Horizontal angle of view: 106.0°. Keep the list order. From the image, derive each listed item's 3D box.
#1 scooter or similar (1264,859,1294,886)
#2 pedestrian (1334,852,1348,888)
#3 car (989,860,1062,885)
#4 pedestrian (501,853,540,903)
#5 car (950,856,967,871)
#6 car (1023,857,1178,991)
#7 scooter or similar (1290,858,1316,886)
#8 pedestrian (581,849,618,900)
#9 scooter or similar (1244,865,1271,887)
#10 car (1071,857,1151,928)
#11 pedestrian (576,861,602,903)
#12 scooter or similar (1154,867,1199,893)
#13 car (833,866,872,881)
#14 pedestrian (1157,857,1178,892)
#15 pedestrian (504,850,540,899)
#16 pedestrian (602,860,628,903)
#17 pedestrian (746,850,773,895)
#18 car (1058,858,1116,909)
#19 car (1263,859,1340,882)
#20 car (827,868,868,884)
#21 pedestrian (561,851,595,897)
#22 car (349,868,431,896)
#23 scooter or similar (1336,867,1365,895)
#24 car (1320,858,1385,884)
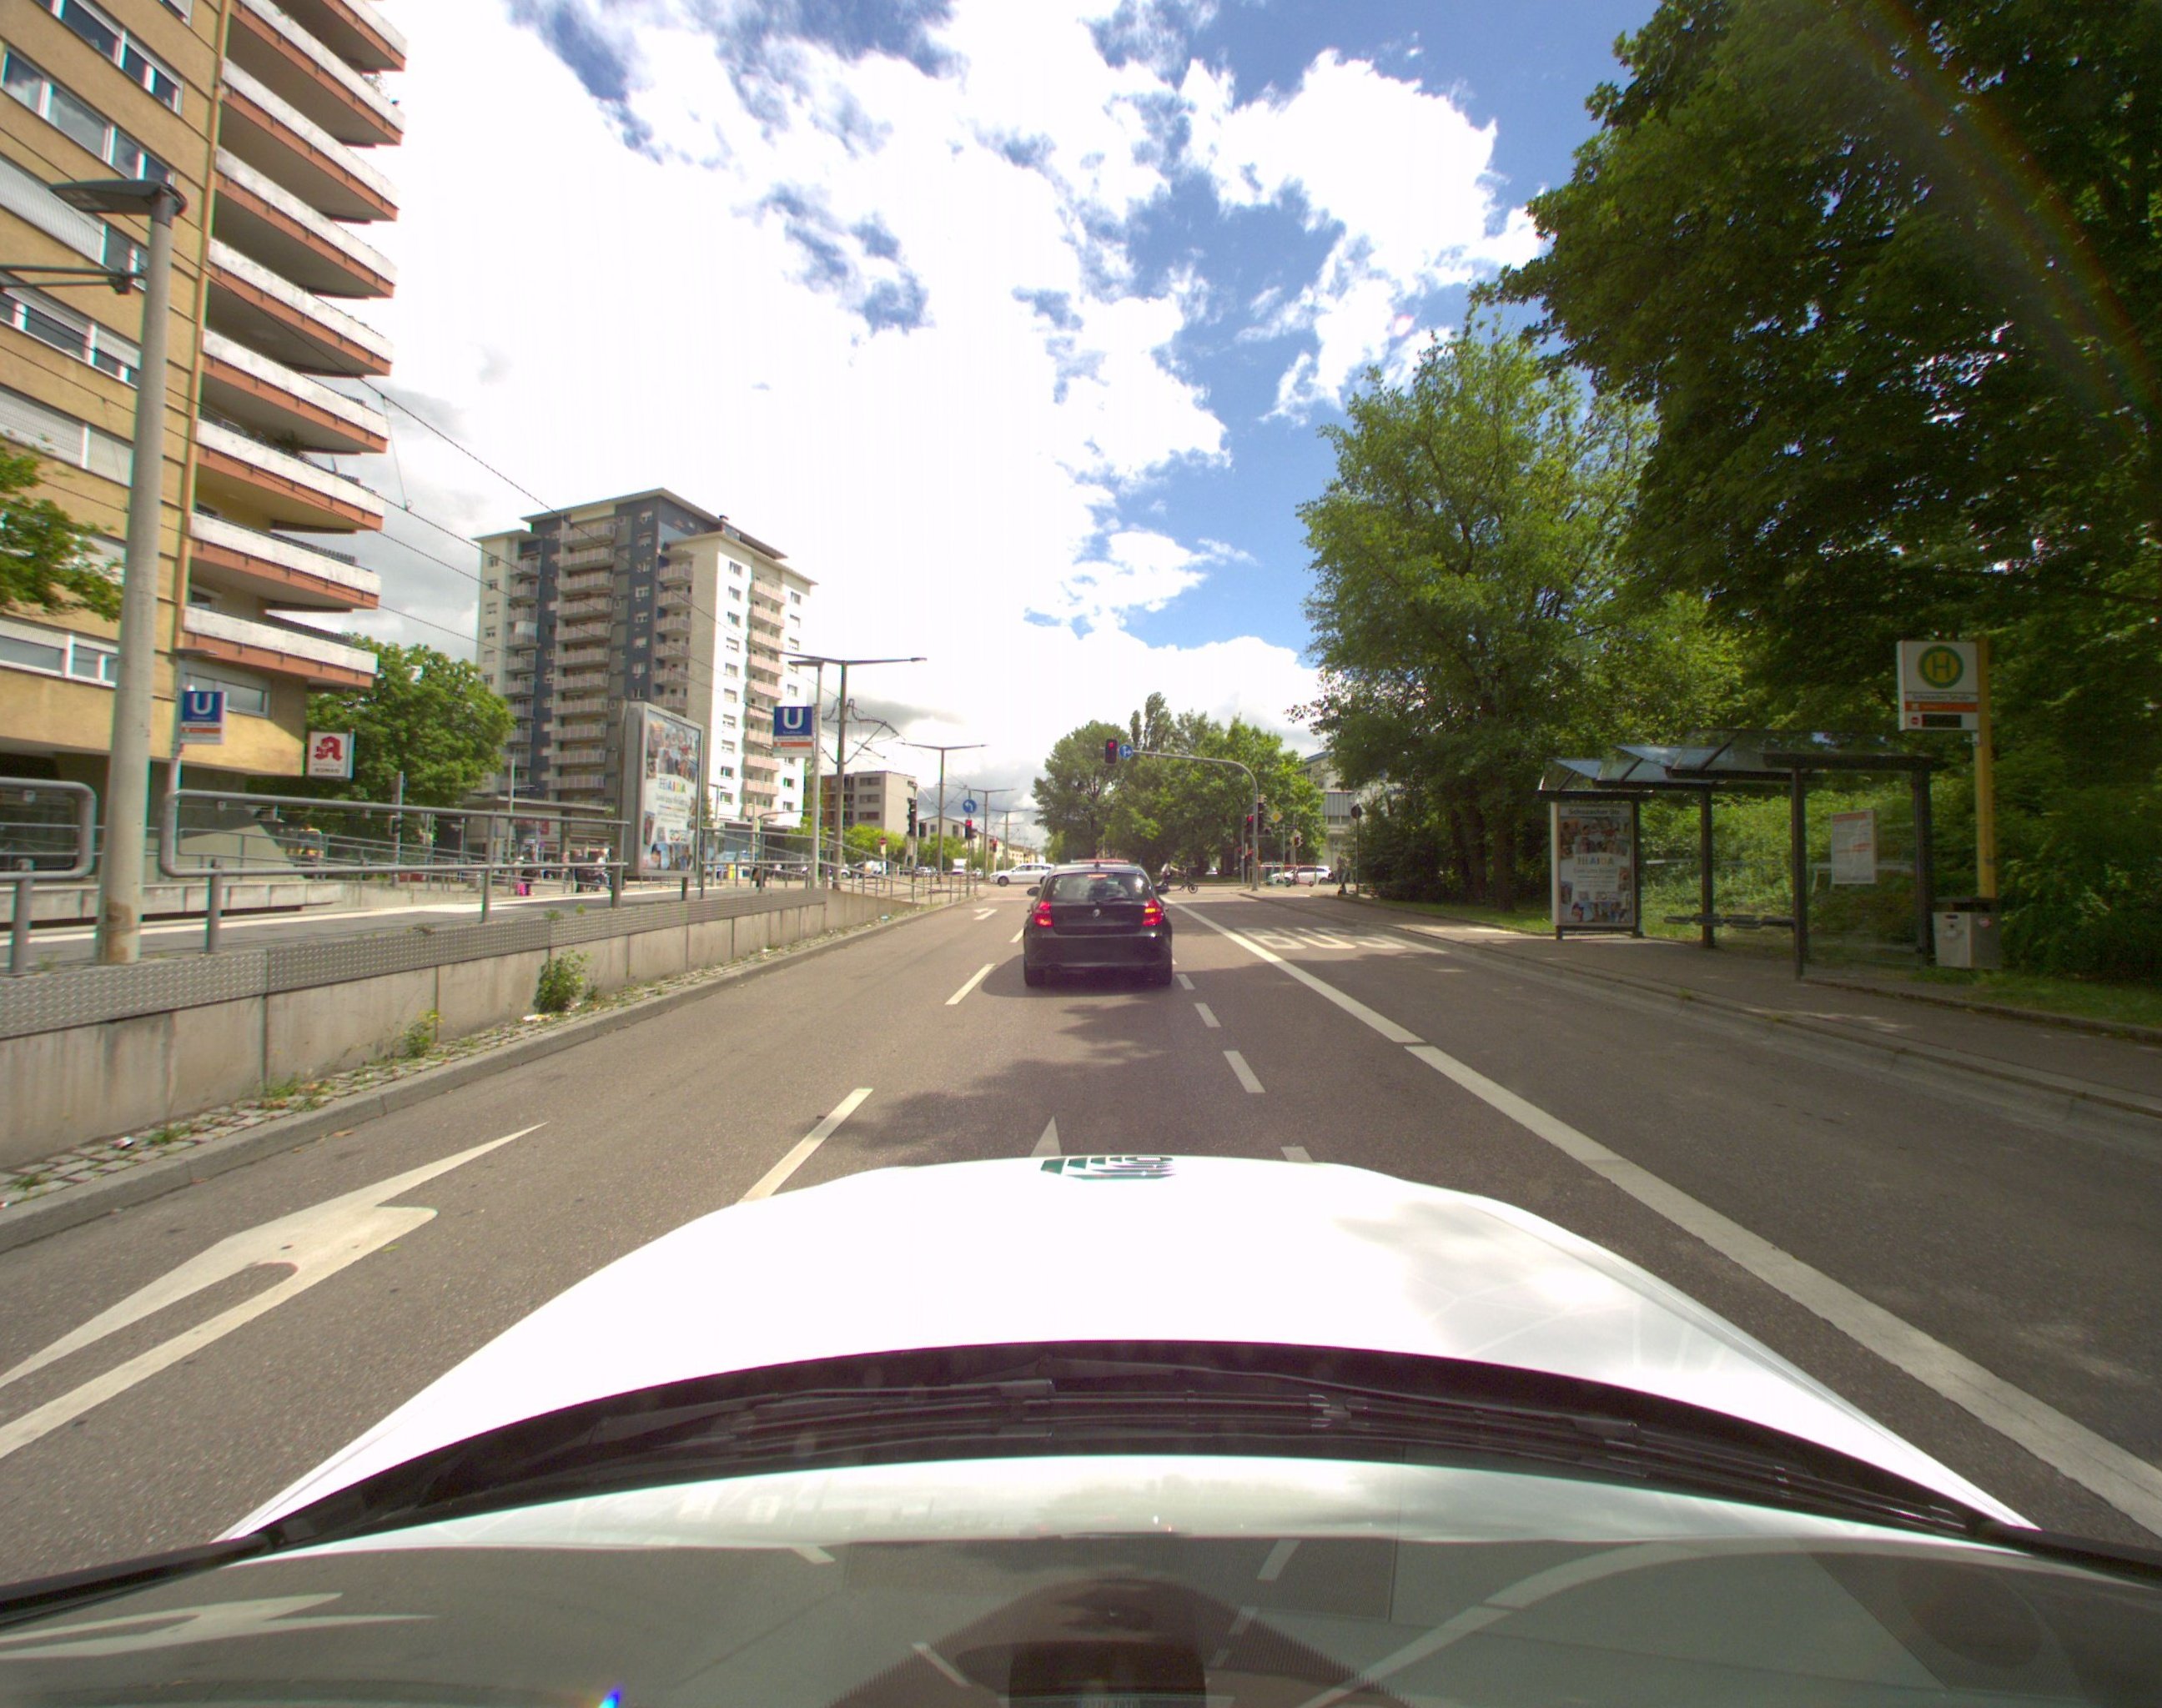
[{"bbox_3d":[9.021,0.841,37.139,1.290,1.189,0.383,-1,-1,-14],"label":"scooter or similar"},{"bbox_3d":[13.346,0.802,41.800,0.608,1.790,0.571,3,-1,20],"label":"pedestrian"},{"bbox_3d":[-3.634,1.178,52.636,4.571,1.526,1.939,-1,0,-9],"label":"car"},{"bbox_3d":[-19.622,0.832,28.518,0.853,1.696,0.691,0,-1,7],"label":"pedestrian"},{"bbox_3d":[-21.715,1.656,144.157,2.132,2.640,5.358,0,0,0],"label":"car"},{"bbox_3d":[0.319,0.758,10.486,1.647,1.419,3.520,0,0,3],"label":"car"},{"bbox_3d":[10.340,0.830,37.940,1.107,1.258,0.331,-1,-1,-11],"label":"scooter or similar"},{"bbox_3d":[-16.558,0.702,28.022,0.820,1.706,0.683,0,-1,6],"label":"pedestrian"},{"bbox_3d":[7.802,0.970,35.954,1.121,0.957,0.299,-1,-1,-14],"label":"scooter or similar"},{"bbox_3d":[0.679,0.779,18.095,1.588,1.419,3.519,0,0,2],"label":"car"},{"bbox_3d":[-15.947,0.890,26.396,0.660,1.343,0.558,-1,-1,44],"label":"pedestrian"},{"bbox_3d":[3.932,1.062,33.552,1.777,1.051,0.410,-1,0,-5],"label":"scooter or similar"},{"bbox_3d":[-23.330,1.961,83.161,3.600,1.462,1.612,-1,0,-7],"label":"car"},{"bbox_3d":[3.597,0.849,33.999,0.861,1.442,0.800,-1,-1,5],"label":"pedestrian"},{"bbox_3d":[-18.614,0.676,27.133,0.602,1.583,0.779,-1,-1,25],"label":"pedestrian"},{"bbox_3d":[-14.938,0.877,26.117,0.691,1.343,0.852,0,0,-29],"label":"pedestrian"},{"bbox_3d":[-11.903,0.688,30.129,0.698,1.632,0.638,-1,0,1],"label":"pedestrian"},{"bbox_3d":[0.180,0.853,24.988,1.649,1.419,3.516,0,0,0],"label":"car"},{"bbox_3d":[14.951,1.096,55.321,4.632,1.480,1.996,-1,0,-5],"label":"car"},{"bbox_3d":[-22.629,2.096,78.925,3.600,1.462,1.612,-1,-1,-7],"label":"car"},{"bbox_3d":[-17.809,0.704,28.847,0.857,1.578,0.622,0,-1,-7],"label":"pedestrian"},{"bbox_3d":[-44.111,1.764,52.056,3.674,1.680,1.742,-1,0,-3],"label":"car"},{"bbox_3d":[10.830,1.070,32.715,1.153,1.099,0.329,0,-1,-22],"label":"scooter or similar"},{"bbox_3d":[17.386,1.057,52.221,3.578,1.601,1.705,0,-1,-11],"label":"car"}]
